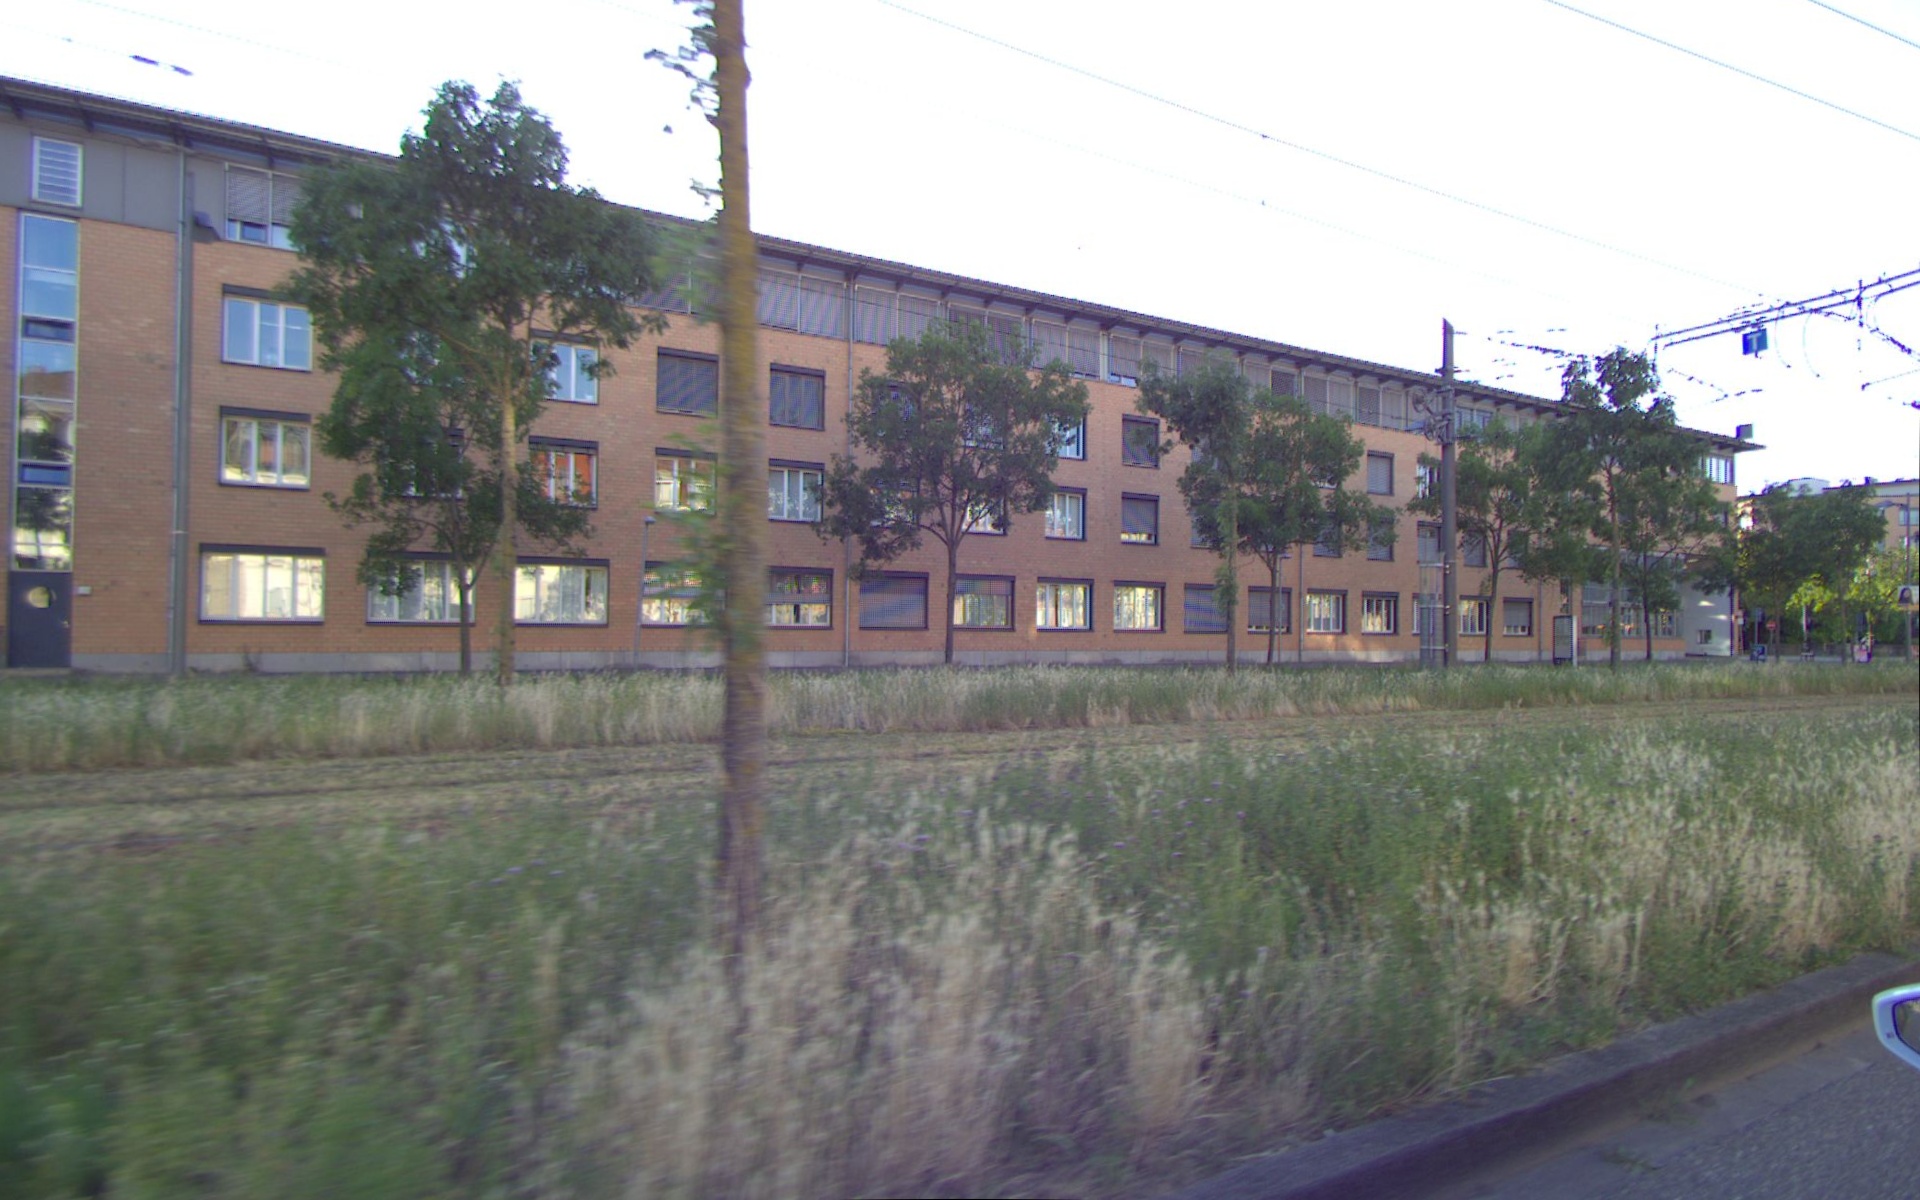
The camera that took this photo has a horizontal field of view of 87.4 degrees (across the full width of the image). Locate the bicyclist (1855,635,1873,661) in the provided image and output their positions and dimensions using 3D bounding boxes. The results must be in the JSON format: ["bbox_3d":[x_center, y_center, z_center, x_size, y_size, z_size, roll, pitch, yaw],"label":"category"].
[{"bbox_3d":[59.742,3.149,66.384,0.815,1.696,0.692,1,-1,-29],"label":"bicyclist"}]

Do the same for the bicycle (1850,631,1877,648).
[{"bbox_3d":[59.729,2.618,66.375,2.068,1.066,0.706,2,-1,-29],"label":"bicycle"}]
